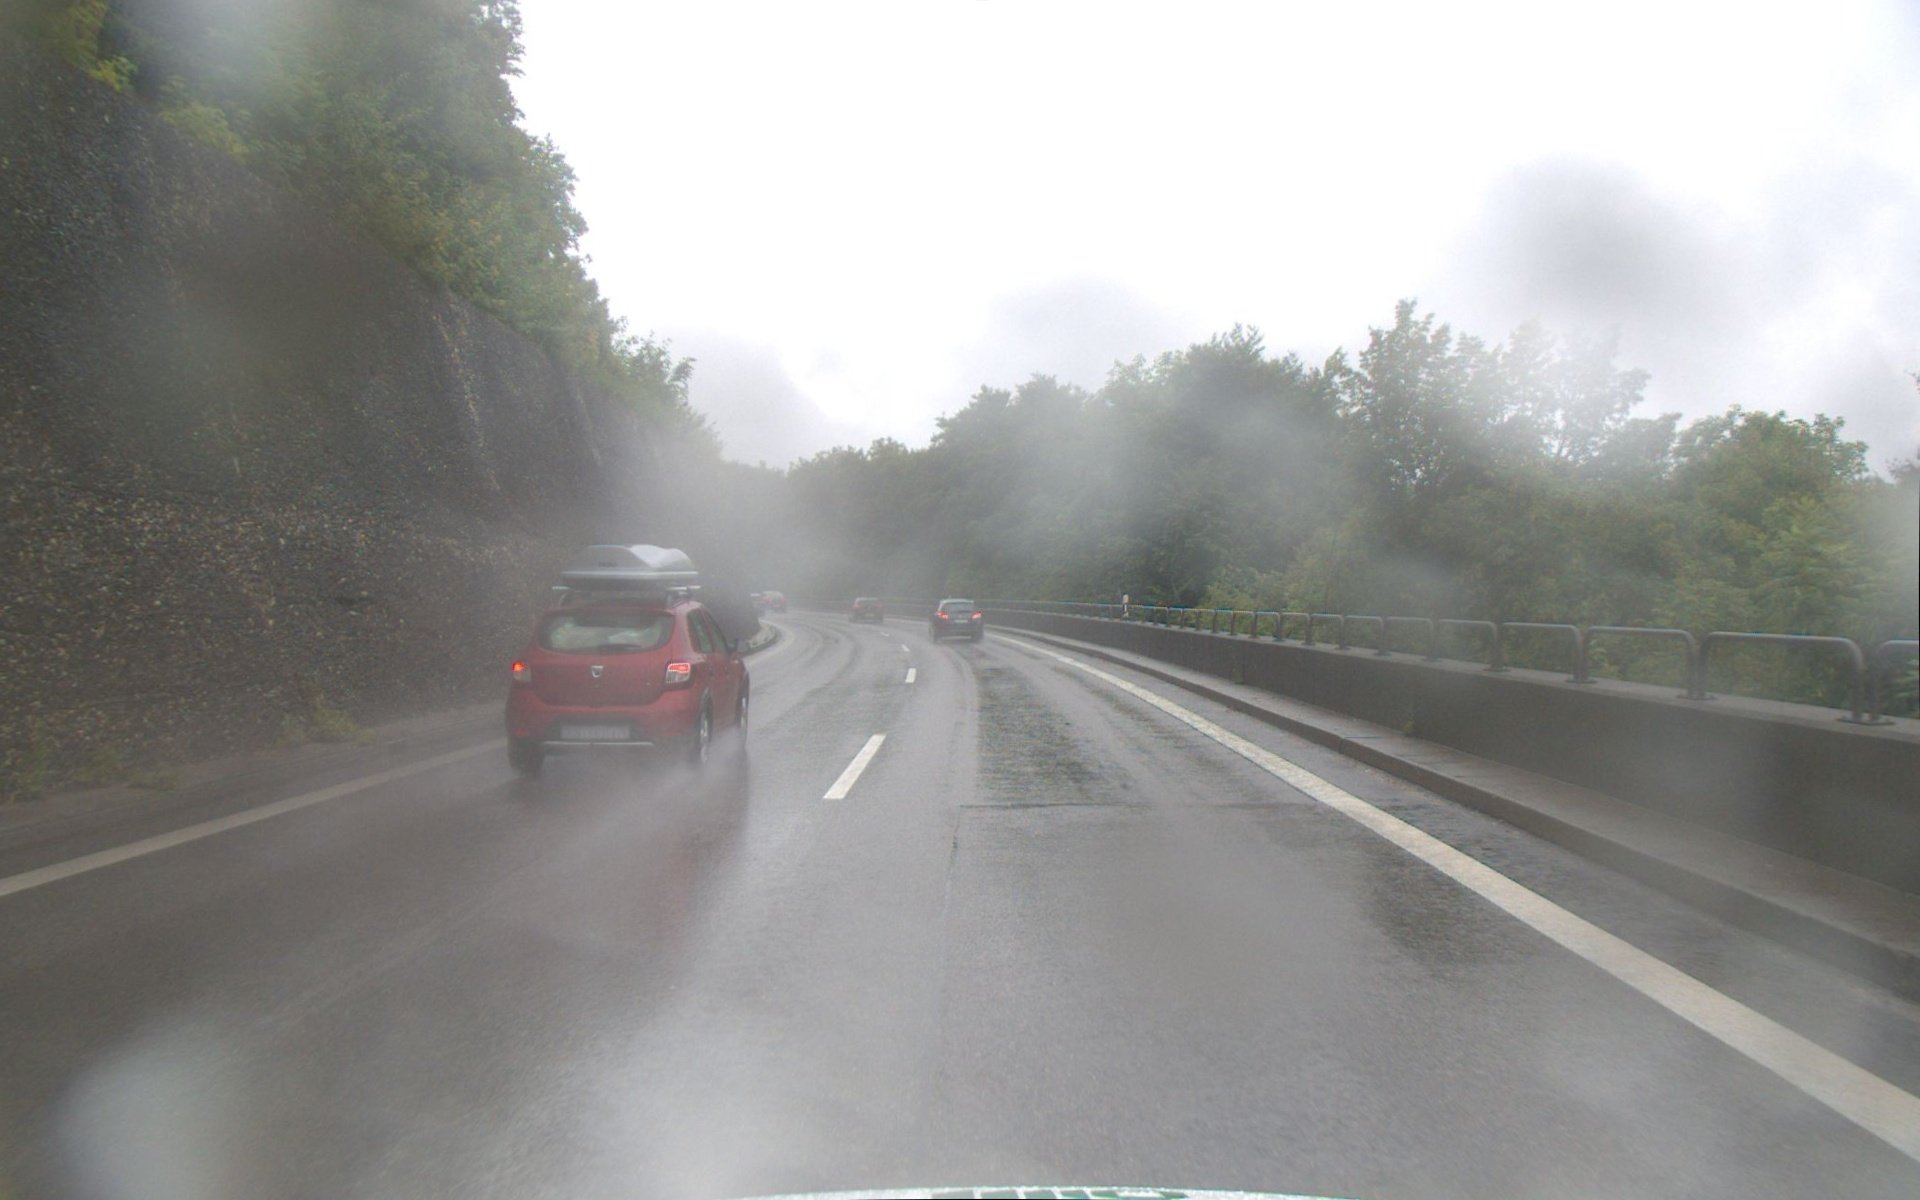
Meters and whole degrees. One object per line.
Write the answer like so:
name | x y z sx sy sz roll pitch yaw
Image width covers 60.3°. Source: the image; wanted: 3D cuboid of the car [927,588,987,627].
car | -0.143 0.248 59.080 1.765 1.330 3.995 0 0 -6

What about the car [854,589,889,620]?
car | -5.281 0.267 98.031 1.955 1.780 3.995 0 -1 -5

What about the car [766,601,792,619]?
car | -14.865 0.797 135.867 1.768 1.492 3.989 0 0 -11

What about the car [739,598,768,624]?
car | -15.281 0.825 122.505 1.955 1.937 3.995 0 -1 -6

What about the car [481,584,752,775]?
car | -3.123 0.658 15.847 1.954 1.579 3.997 0 0 -3
